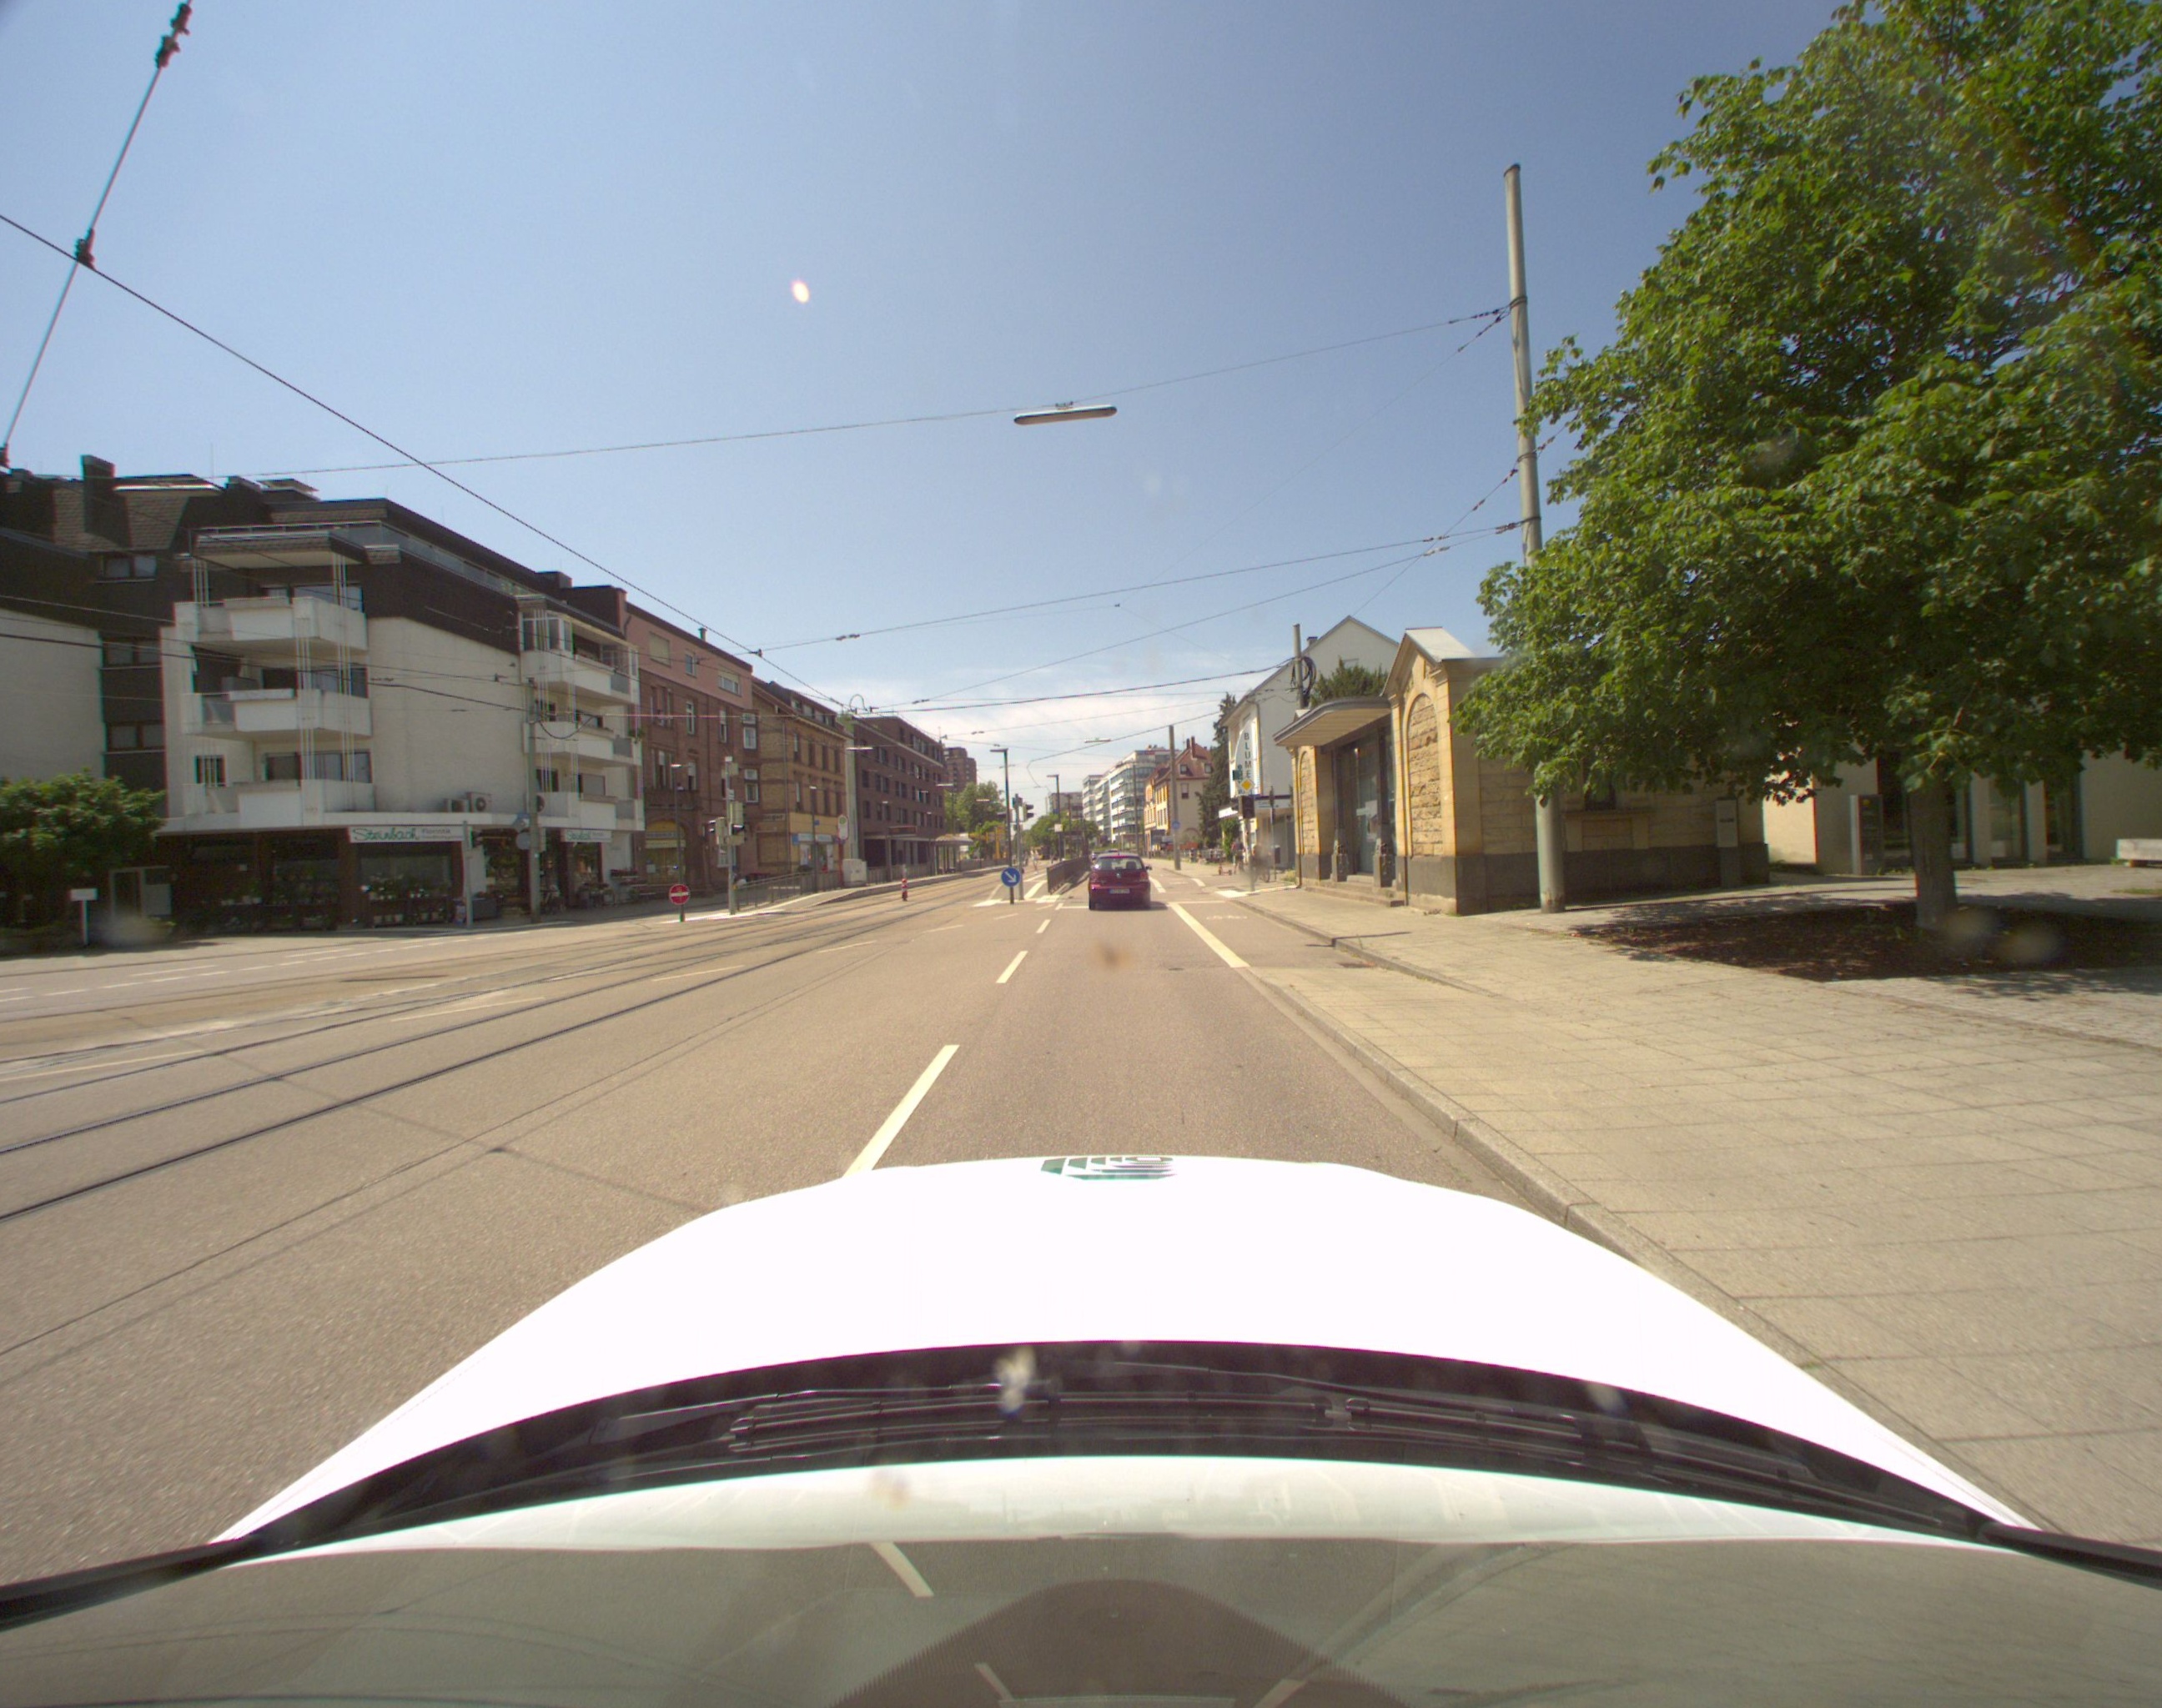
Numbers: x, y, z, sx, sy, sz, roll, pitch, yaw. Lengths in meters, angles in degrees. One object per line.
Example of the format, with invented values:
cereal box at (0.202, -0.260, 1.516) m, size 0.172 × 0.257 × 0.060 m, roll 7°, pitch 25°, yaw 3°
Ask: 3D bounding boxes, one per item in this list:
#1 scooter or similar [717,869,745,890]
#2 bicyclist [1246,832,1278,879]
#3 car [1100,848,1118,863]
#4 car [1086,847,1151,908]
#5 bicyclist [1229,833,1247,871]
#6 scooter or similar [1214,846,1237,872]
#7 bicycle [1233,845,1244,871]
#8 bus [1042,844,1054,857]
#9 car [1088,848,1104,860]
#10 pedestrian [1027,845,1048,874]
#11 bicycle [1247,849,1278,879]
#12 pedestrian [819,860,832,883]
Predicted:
scooter or similar at (-20.388, 1.471, 47.489) m, size 0.484 × 1.082 × 1.584 m, roll -3°, pitch 0°, yaw 18°
bicyclist at (6.669, 0.047, 30.111) m, size 0.829 × 1.618 × 0.860 m, roll -7°, pitch 1°, yaw 1°
car at (3.472, 0.181, 101.298) m, size 1.987 × 1.624 × 4.632 m, roll -3°, pitch 0°, yaw 1°
car at (0.974, 0.586, 22.036) m, size 1.555 × 1.453 × 3.062 m, roll -3°, pitch 0°, yaw 1°
bicyclist at (7.634, -0.100, 39.610) m, size 0.722 × 1.760 × 0.927 m, roll -3°, pitch 0°, yaw 14°
scooter or similar at (6.962, 0.247, 39.287) m, size 0.340 × 1.178 × 1.457 m, roll -3°, pitch 0°, yaw -22°
bicycle at (7.644, 0.197, 39.484) m, size 0.372 × 1.197 × 1.912 m, roll -3°, pitch 0°, yaw 14°
bus at (-8.033, -0.722, 198.328) m, size 2.143 × 3.003 × 6.557 m, roll -3°, pitch 0°, yaw -7°
car at (2.379, -0.045, 129.564) m, size 1.990 × 1.848 × 3.993 m, roll -3°, pitch 0°, yaw -5°
pedestrian at (-2.642, 0.322, 49.503) m, size 1.099 × 1.674 × 0.761 m, roll -3°, pitch 0°, yaw -16°
bicycle at (6.635, 0.361, 29.861) m, size 0.666 × 1.002 × 1.864 m, roll -7°, pitch 0°, yaw 2°
pedestrian at (-18.255, 1.246, 58.126) m, size 0.612 × 1.560 × 0.640 m, roll -3°, pitch 0°, yaw 1°
